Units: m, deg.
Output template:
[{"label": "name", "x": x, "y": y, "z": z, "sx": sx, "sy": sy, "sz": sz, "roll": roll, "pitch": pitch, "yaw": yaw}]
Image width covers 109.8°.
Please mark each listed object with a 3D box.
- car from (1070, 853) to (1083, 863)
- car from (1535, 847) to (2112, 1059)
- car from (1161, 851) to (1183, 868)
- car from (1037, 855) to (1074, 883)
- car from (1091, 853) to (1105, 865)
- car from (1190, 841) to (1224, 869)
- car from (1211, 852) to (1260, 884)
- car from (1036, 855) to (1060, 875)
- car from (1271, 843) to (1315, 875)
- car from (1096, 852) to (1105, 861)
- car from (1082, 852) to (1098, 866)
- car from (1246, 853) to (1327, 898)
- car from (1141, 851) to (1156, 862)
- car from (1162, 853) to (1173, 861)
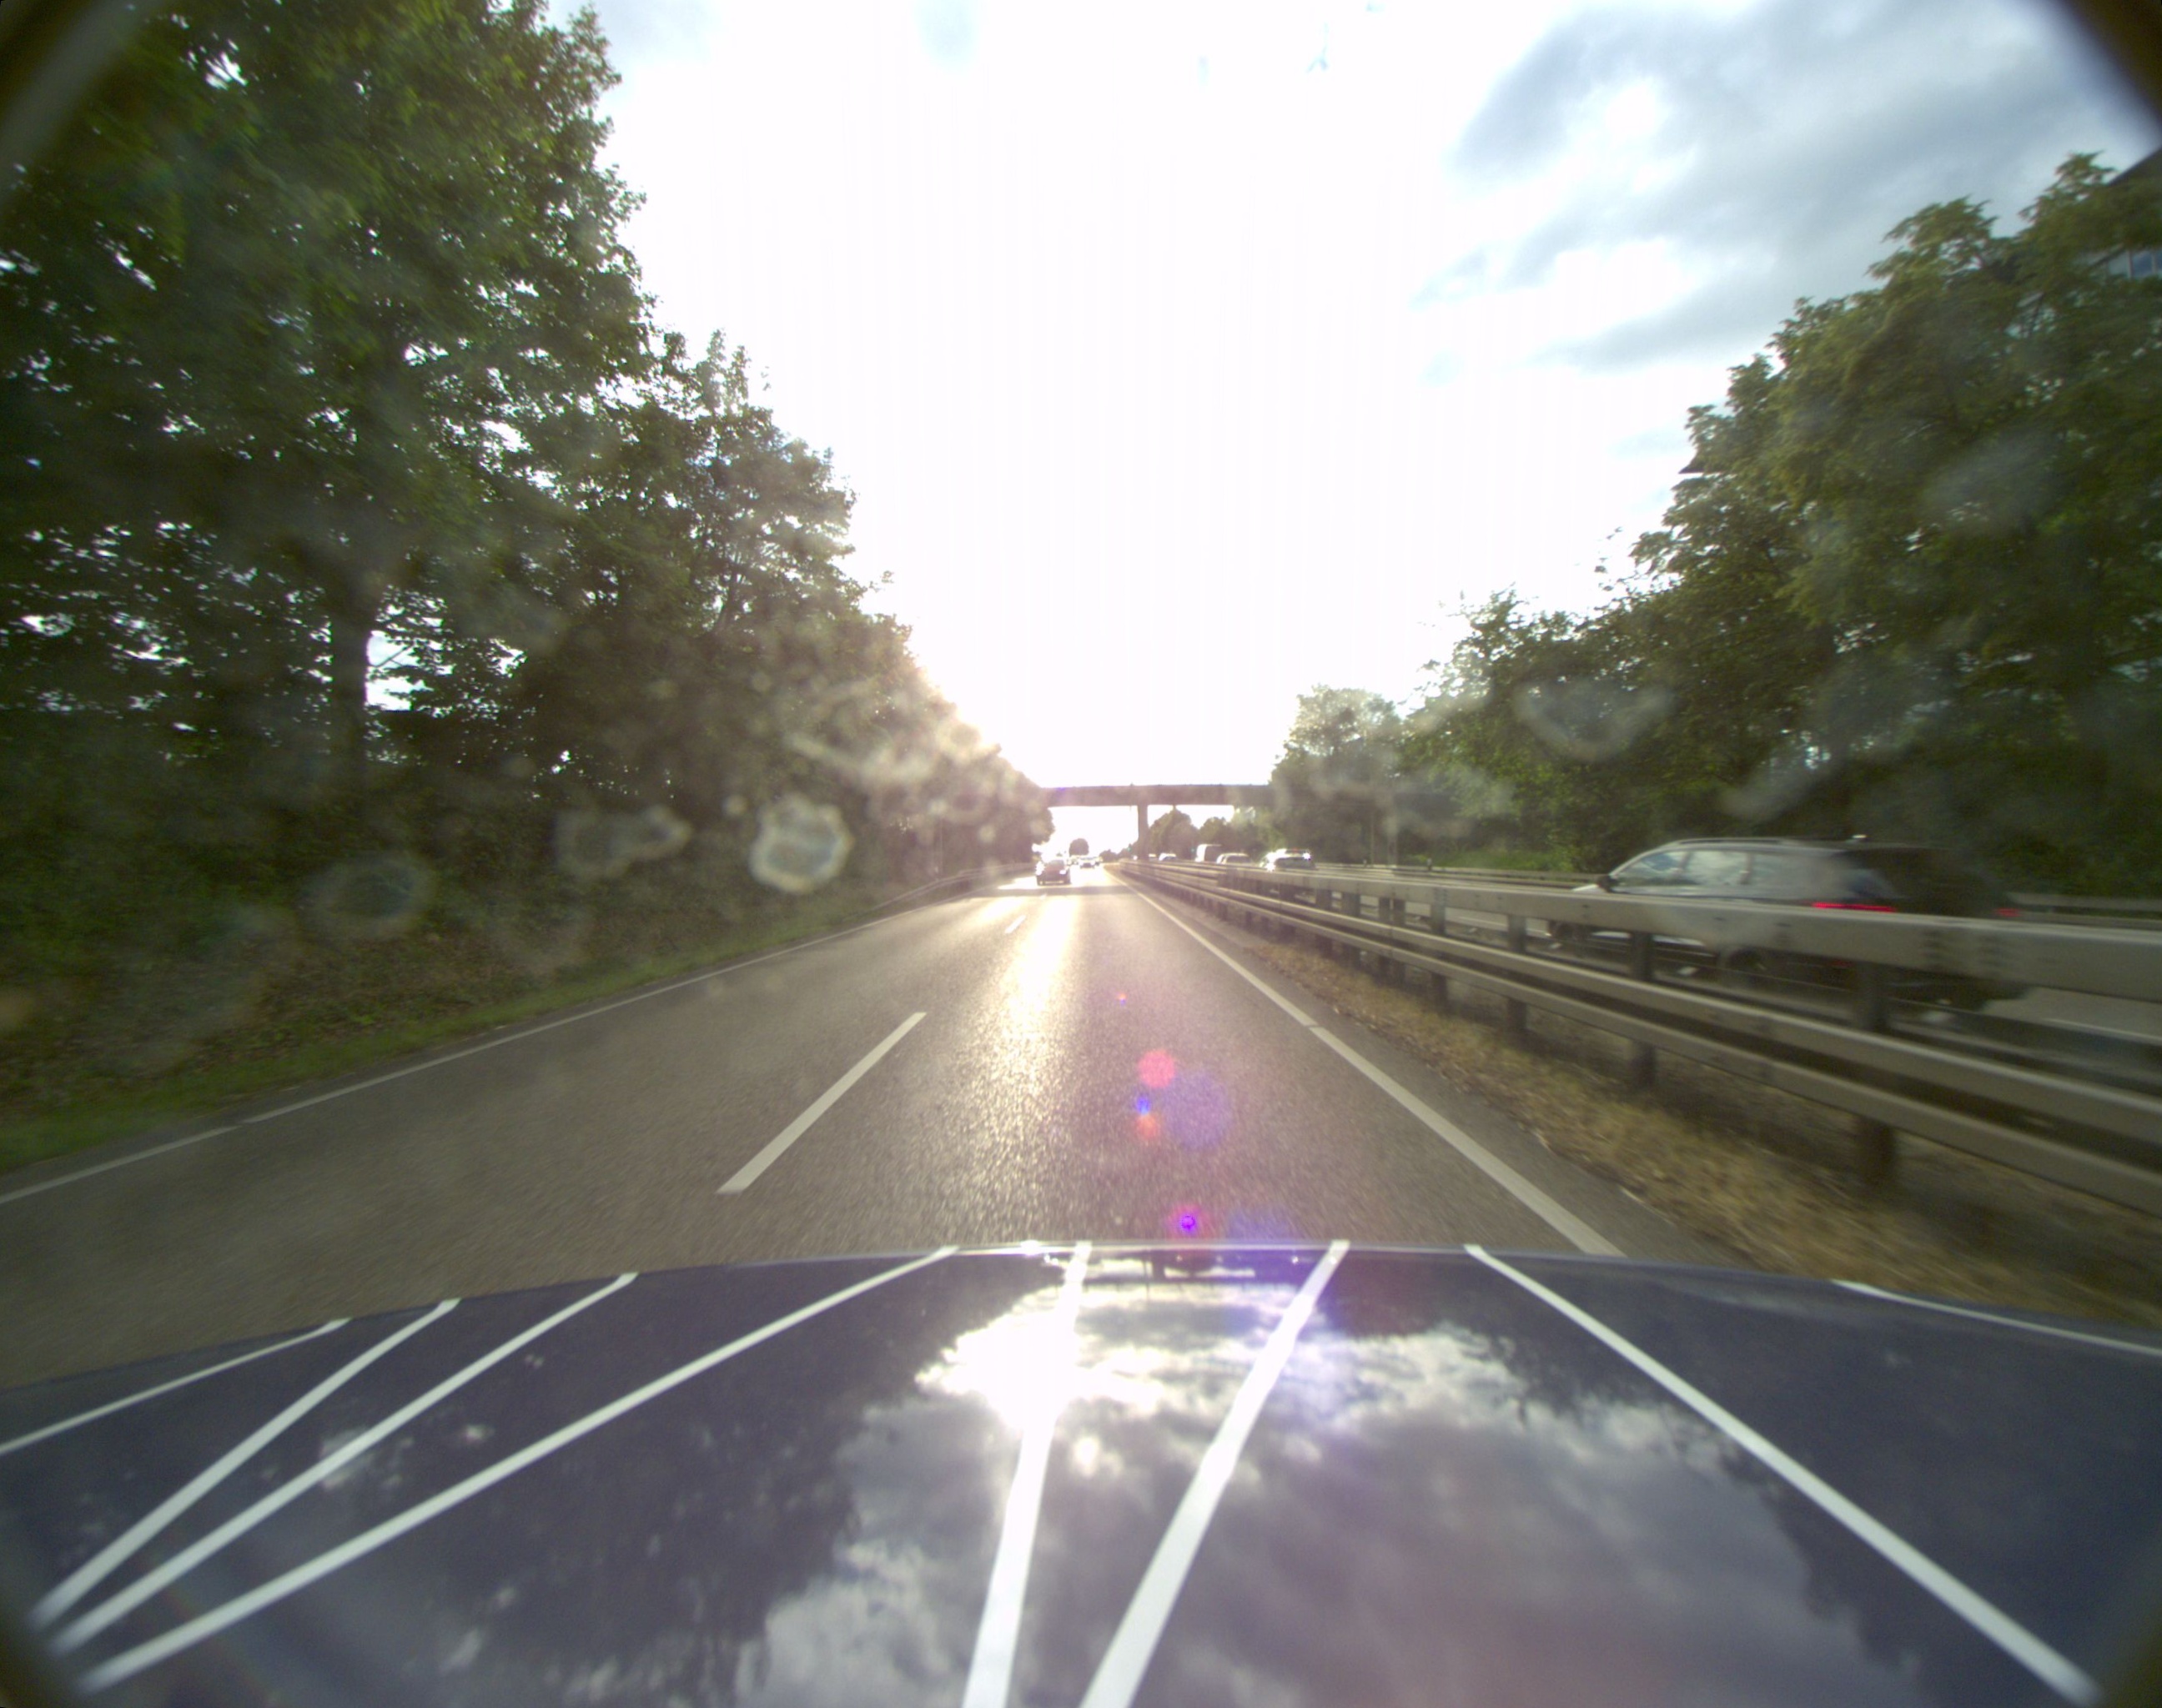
[{"label": "car", "x": -0.787, "y": 0.758, "z": 135.761, "sx": 1.948, "sy": 1.652, "sz": 4.001, "roll": -2, "pitch": -1, "yaw": 2}, {"label": "car", "x": 6.849, "y": 0.740, "z": 7.857, "sx": 1.825, "sy": 1.575, "sz": 4.316, "roll": -1, "pitch": 0, "yaw": 1}, {"label": "car", "x": 8.618, "y": 0.537, "z": 72.323, "sx": 1.610, "sy": 1.519, "sz": 3.640, "roll": -1, "pitch": 0, "yaw": 0}, {"label": "car", "x": -1.388, "y": 0.817, "z": 42.751, "sx": 1.723, "sy": 1.467, "sz": 3.729, "roll": -2, "pitch": 0, "yaw": 3}, {"label": "car", "x": 2.528, "y": 0.728, "z": 111.989, "sx": 1.786, "sy": 1.623, "sz": 3.866, "roll": -2, "pitch": -1, "yaw": 2}, {"label": "car", "x": 11.998, "y": 0.048, "z": 72.814, "sx": 2.255, "sy": 2.522, "sz": 6.940, "roll": -1, "pitch": 0, "yaw": 1}, {"label": "car", "x": 7.582, "y": 0.653, "z": 37.527, "sx": 1.686, "sy": 1.477, "sz": 3.646, "roll": -1, "pitch": 0, "yaw": 1}, {"label": "car", "x": -2.866, "y": 0.974, "z": 67.358, "sx": 1.723, "sy": 1.657, "sz": 4.420, "roll": -2, "pitch": -1, "yaw": 2}, {"label": "car", "x": 13.179, "y": 0.311, "z": 47.429, "sx": 1.871, "sy": 1.844, "sz": 4.624, "roll": -2, "pitch": 0, "yaw": 6}, {"label": "car", "x": 4.820, "y": 0.571, "z": 188.567, "sx": 1.998, "sy": 2.002, "sz": 4.000, "roll": -2, "pitch": 0, "yaw": 1}, {"label": "car", "x": 1.057, "y": 0.560, "z": 88.560, "sx": 1.723, "sy": 1.493, "sz": 4.420, "roll": -2, "pitch": -1, "yaw": 2}, {"label": "car", "x": 6.781, "y": 0.661, "z": 25.451, "sx": 1.680, "sy": 1.344, "sz": 3.831, "roll": -1, "pitch": 0, "yaw": 1}, {"label": "car", "x": 9.459, "y": 0.327, "z": 106.327, "sx": 1.827, "sy": 1.575, "sz": 4.790, "roll": -1, "pitch": 0, "yaw": 1}, {"label": "car", "x": 15.167, "y": 0.503, "z": 133.303, "sx": 1.433, "sy": 1.345, "sz": 3.310, "roll": 0, "pitch": 0, "yaw": 0}]
